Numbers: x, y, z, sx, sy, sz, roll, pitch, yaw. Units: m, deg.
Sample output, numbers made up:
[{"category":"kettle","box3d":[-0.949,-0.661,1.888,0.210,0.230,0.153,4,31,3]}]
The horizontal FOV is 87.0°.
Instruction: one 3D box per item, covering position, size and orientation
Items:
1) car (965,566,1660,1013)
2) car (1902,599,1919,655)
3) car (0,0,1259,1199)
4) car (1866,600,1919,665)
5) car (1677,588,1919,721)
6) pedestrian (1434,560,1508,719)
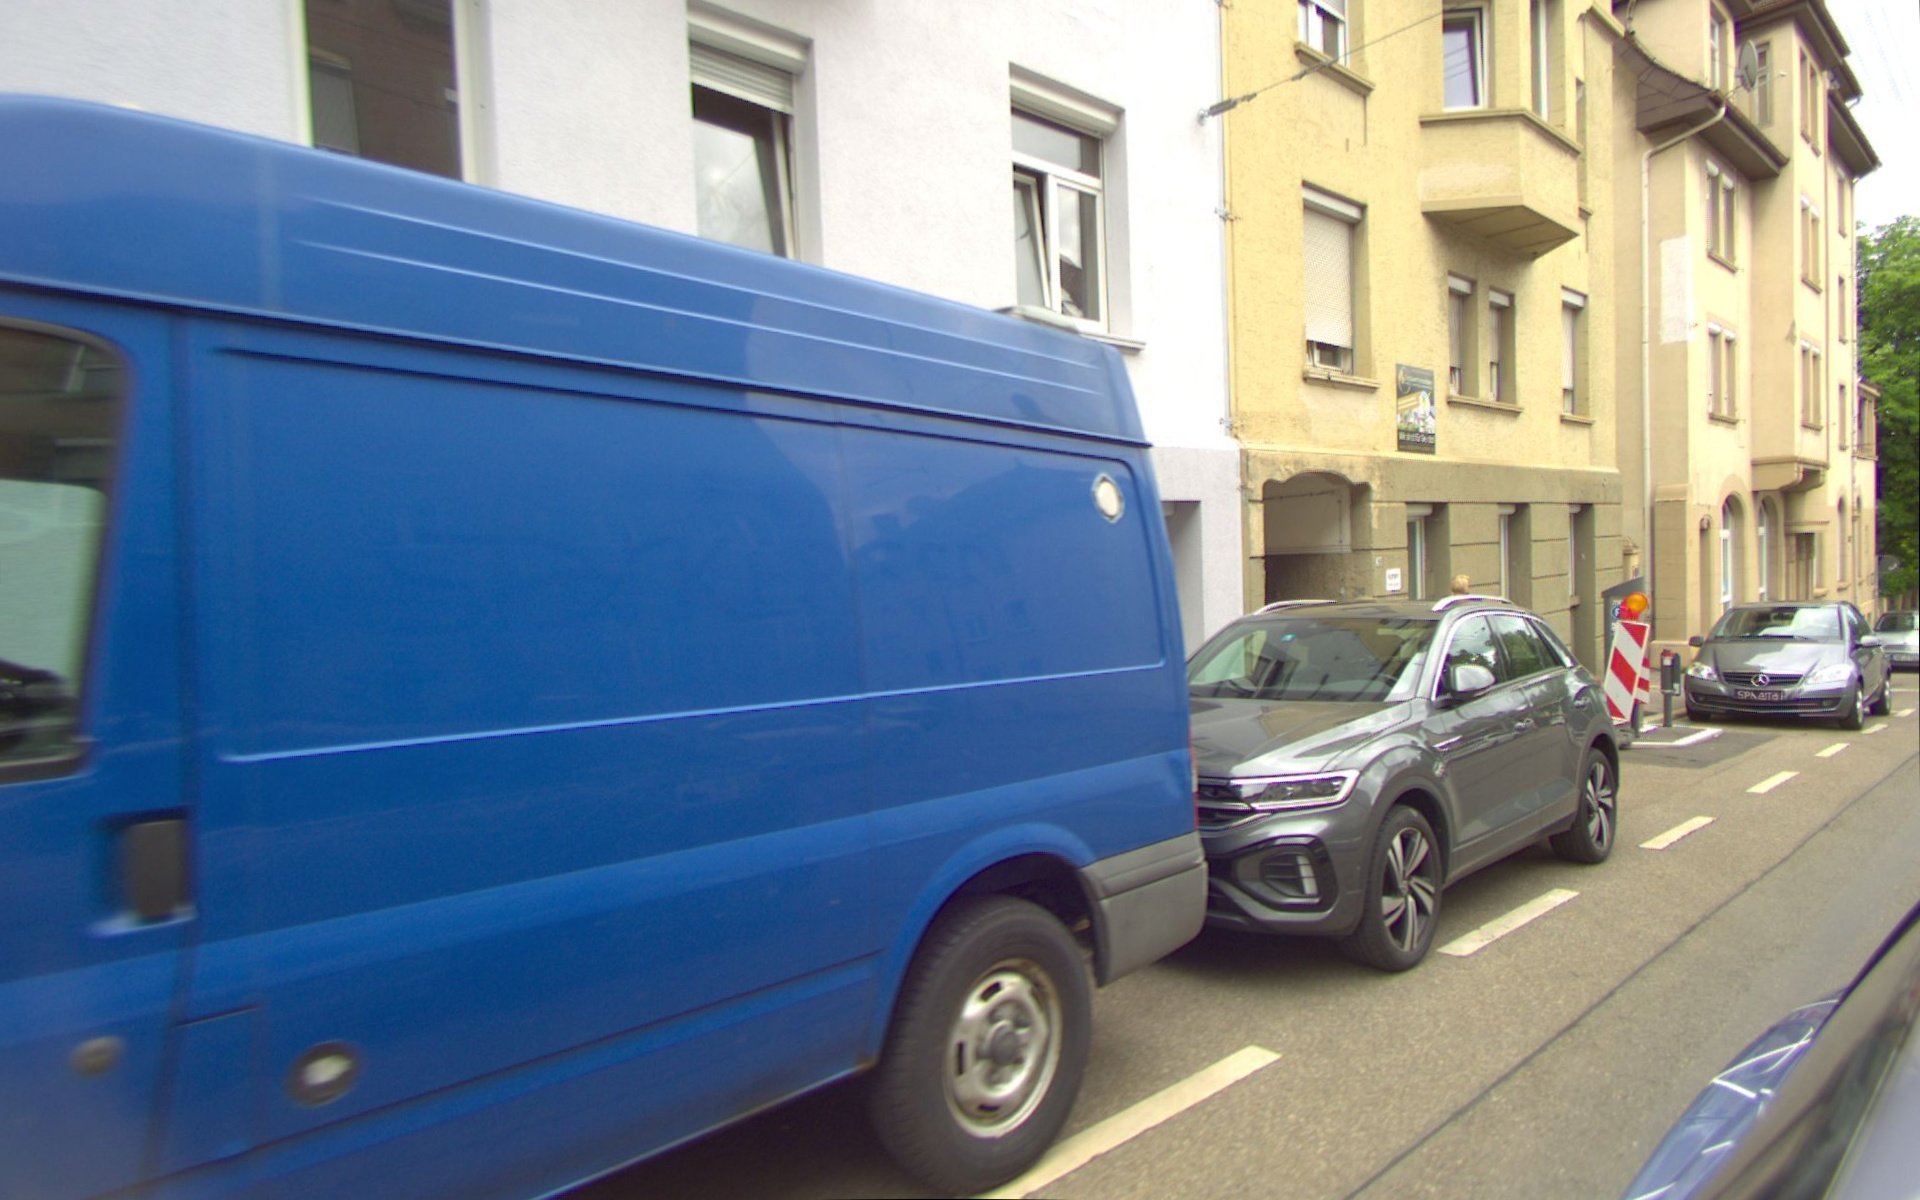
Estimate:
[{"category":"car","box3d":[2.171,0.684,5.579,4.120,1.550,1.781,-1,-3,-42]},{"category":"car","box3d":[27.056,0.689,27.372,4.095,1.421,1.842,-1,-1,-41]},{"category":"car","box3d":[-1.578,0.293,2.339,4.968,2.406,1.997,-1,0,-41]},{"category":"car","box3d":[22.570,0.722,23.559,3.602,1.422,1.698,0,-2,-40]},{"category":"car","box3d":[11.373,0.656,13.646,3.956,1.538,1.830,0,-2,-40]},{"category":"pedestrian","box3d":[5.775,0.427,11.434,0.540,1.701,0.509,6,7,41]}]
